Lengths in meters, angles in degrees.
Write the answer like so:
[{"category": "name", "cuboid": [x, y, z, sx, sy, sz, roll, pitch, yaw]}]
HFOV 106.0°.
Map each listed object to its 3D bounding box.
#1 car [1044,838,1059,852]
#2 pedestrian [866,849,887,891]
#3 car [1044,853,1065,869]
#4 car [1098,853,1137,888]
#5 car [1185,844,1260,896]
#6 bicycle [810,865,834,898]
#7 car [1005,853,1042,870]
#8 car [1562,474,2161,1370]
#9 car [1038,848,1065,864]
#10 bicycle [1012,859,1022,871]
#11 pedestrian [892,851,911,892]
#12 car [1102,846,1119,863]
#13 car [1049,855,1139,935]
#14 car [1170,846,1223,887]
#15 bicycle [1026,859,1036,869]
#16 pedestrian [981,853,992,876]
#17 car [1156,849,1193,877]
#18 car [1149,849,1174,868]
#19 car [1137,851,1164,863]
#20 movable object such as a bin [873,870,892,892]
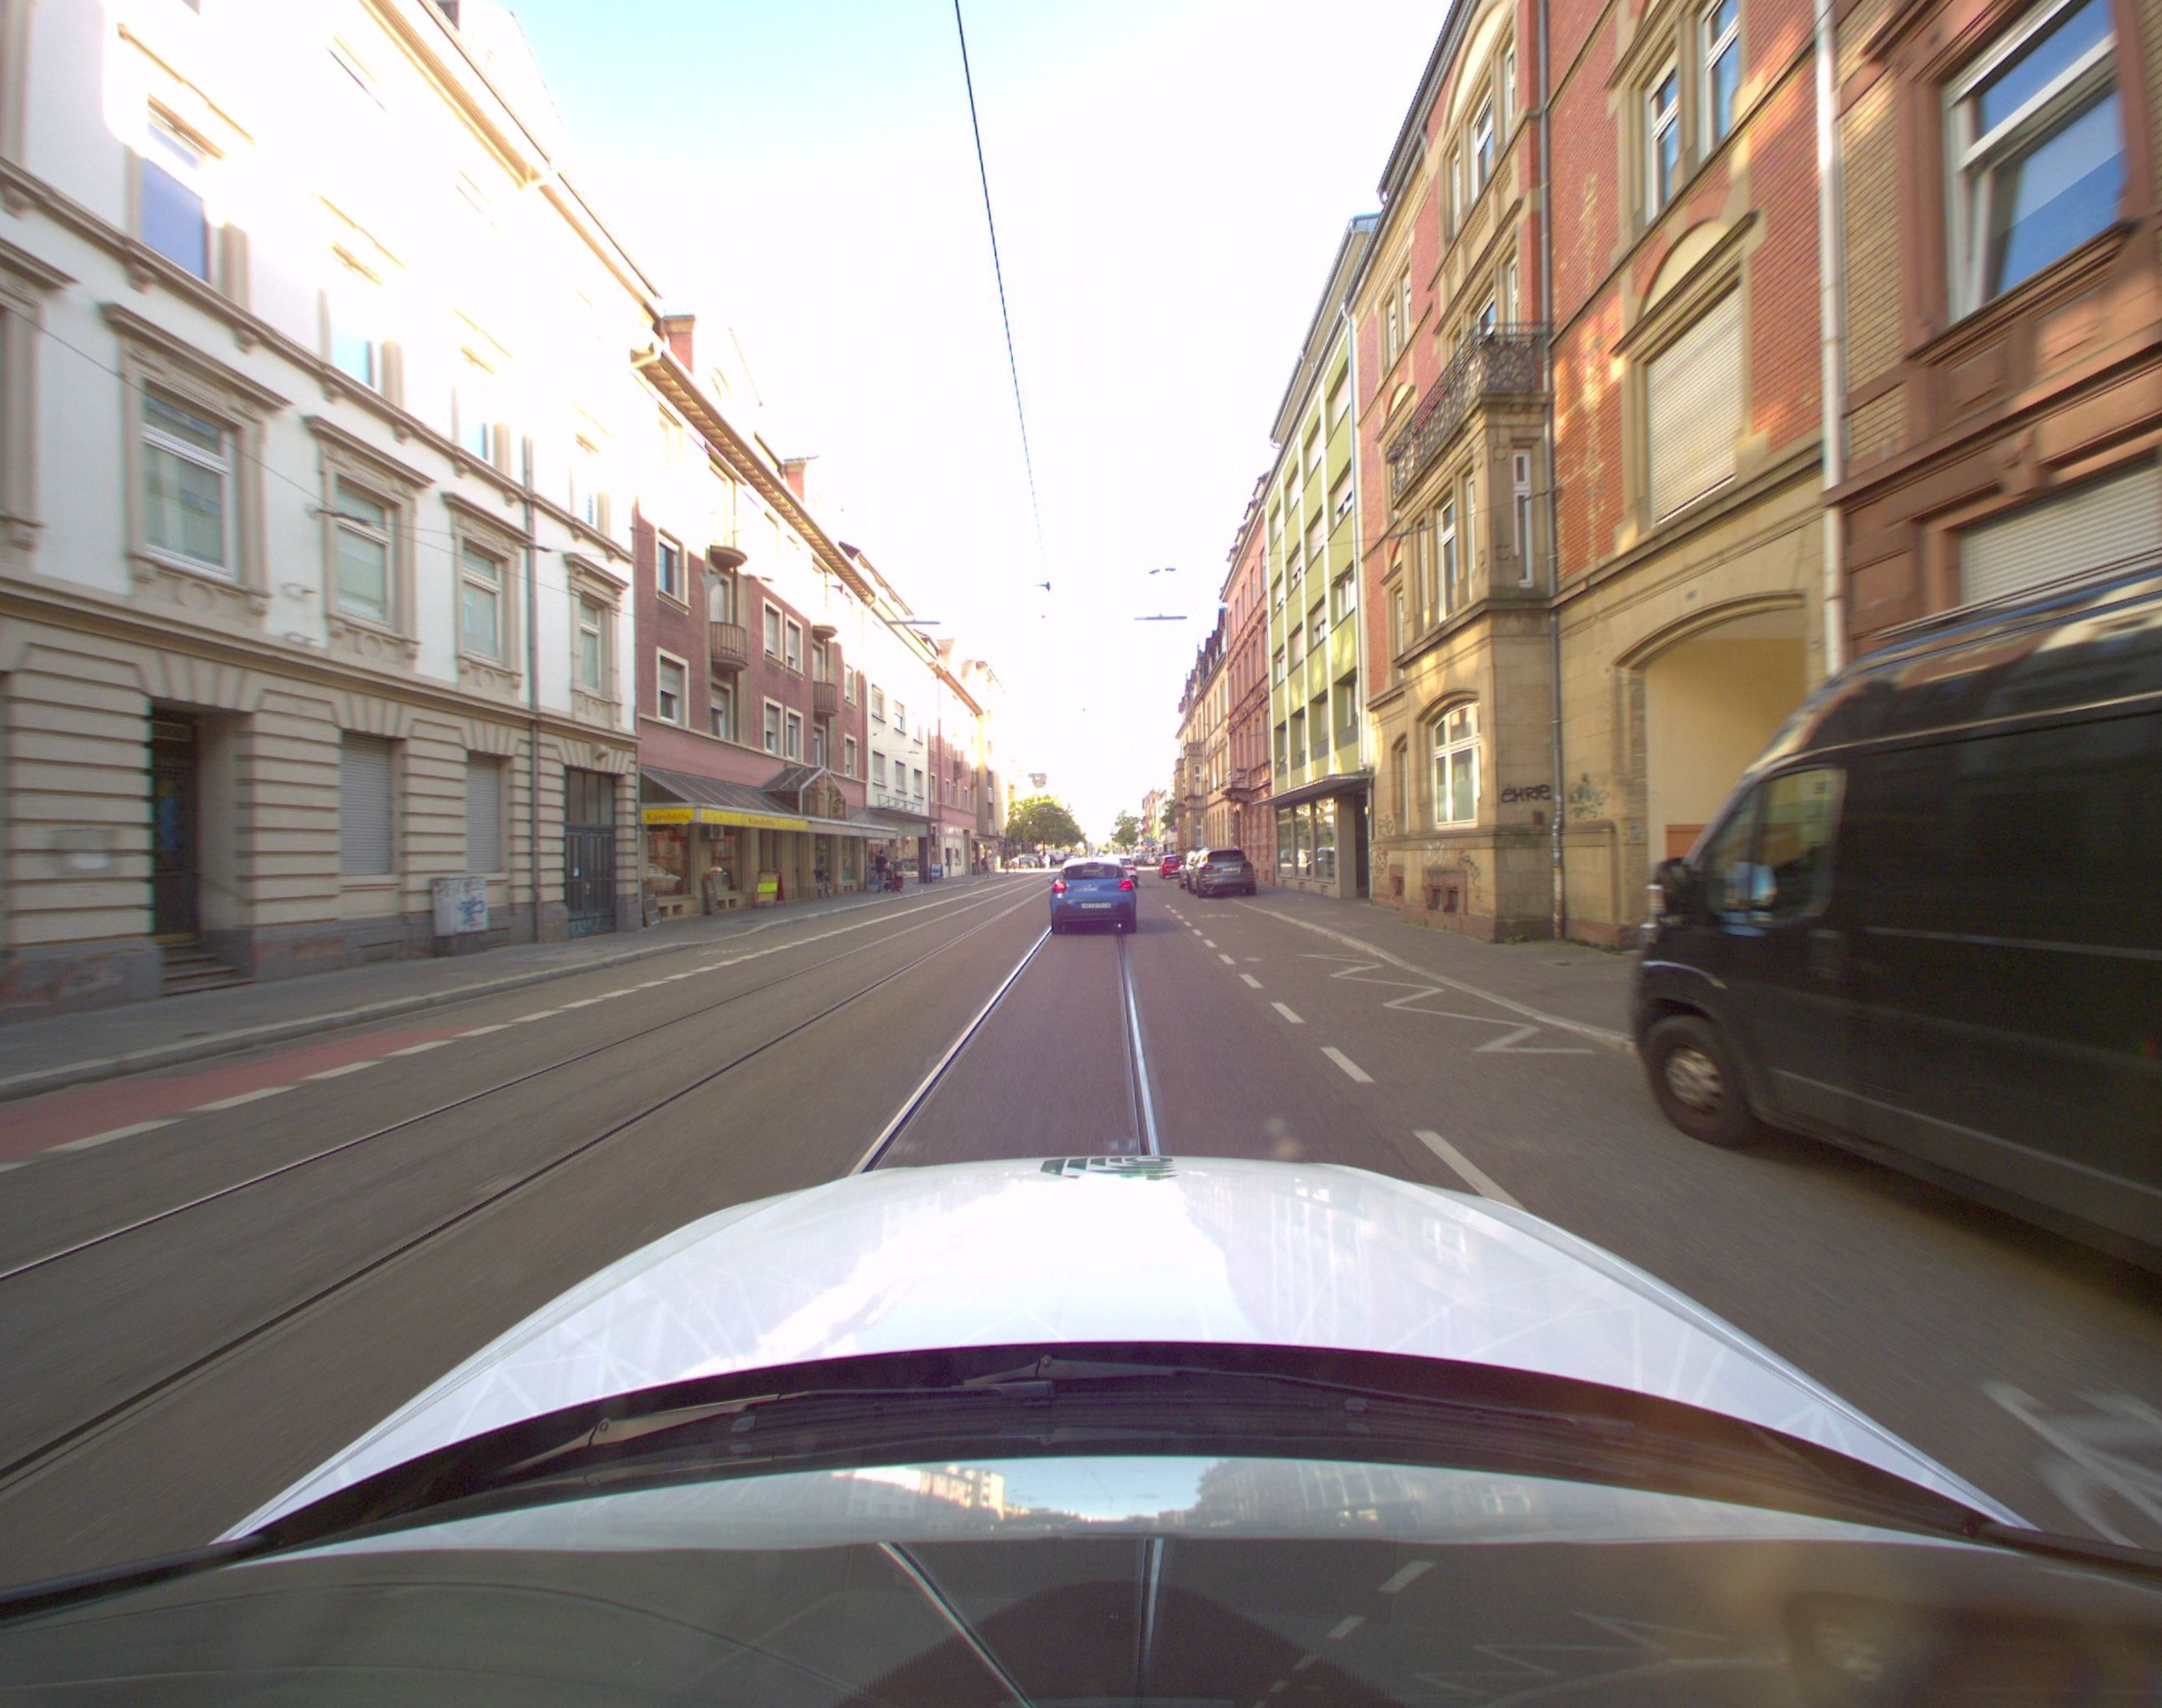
[{"category": "car", "cuboid": [-5.649, -1.634, 155.696, 2.205, 2.581, 4.303, -1, 0, -13]}, {"category": "pedestrian", "cuboid": [-8.666, 0.679, 34.513, 0.708, 1.764, 0.570, -2, 0, 0]}, {"category": "car", "cuboid": [-2.868, 0.731, 88.380, 1.987, 1.651, 4.000, -1, 0, 1]}, {"category": "car", "cuboid": [1.680, 0.734, 38.331, 1.661, 1.478, 4.000, -2, 0, 1]}, {"category": "car", "cuboid": [5.019, 0.542, 29.483, 1.998, 1.672, 4.807, -2, 0, 2]}, {"category": "bicycle", "cuboid": [-9.787, 1.020, 30.818, 0.621, 1.159, 2.057, -1, 0, -11]}, {"category": "car", "cuboid": [-7.205, 0.951, 101.666, 4.290, 2.017, 2.211, -2, 0, 3]}, {"category": "car", "cuboid": [4.057, 0.147, 2.243, 2.262, 2.436, 5.726, -3, 0, 4]}, {"category": "car", "cuboid": [-5.162, 0.373, 142.720, 4.328, 2.581, 2.192, -1, 0, -24]}, {"category": "bicycle", "cuboid": [-7.400, 1.208, 94.048, 1.118, 1.319, 3.639, -1, 0, -4]}, {"category": "pedestrian", "cuboid": [-7.780, 0.745, 35.326, 0.709, 1.764, 0.653, -1, 0, -7]}, {"category": "car", "cuboid": [3.584, 0.054, 100.111, 1.987, 2.013, 4.000, -2, 0, 1]}, {"category": "car", "cuboid": [0.284, 0.777, 17.446, 1.668, 1.477, 4.001, -1, 0, 1]}, {"category": "car", "cuboid": [5.293, 0.537, 37.755, 1.899, 1.757, 4.000, -1, 0, 1]}, {"category": "bicycle", "cuboid": [-5.821, 1.174, 94.258, 1.118, 1.146, 3.639, -1, 0, -4]}, {"category": "pedestrian", "cuboid": [-6.914, 0.779, 59.704, 0.683, 1.638, 0.675, -2, 0, 0]}, {"category": "car", "cuboid": [6.090, 0.552, 53.644, 1.998, 1.672, 4.393, -2, 1, 2]}, {"category": "car", "cuboid": [7.650, 0.444, 77.969, 1.998, 1.672, 4.392, -4, 0, 2]}, {"category": "car", "cuboid": [10.111, 0.391, 118.980, 3.824, 1.618, 1.791, -2, 0, -1]}, {"category": "movable object such as a bin", "cuboid": [-8.565, 1.147, 35.194, 0.608, 0.914, 0.695, -2, 0, 1]}]
